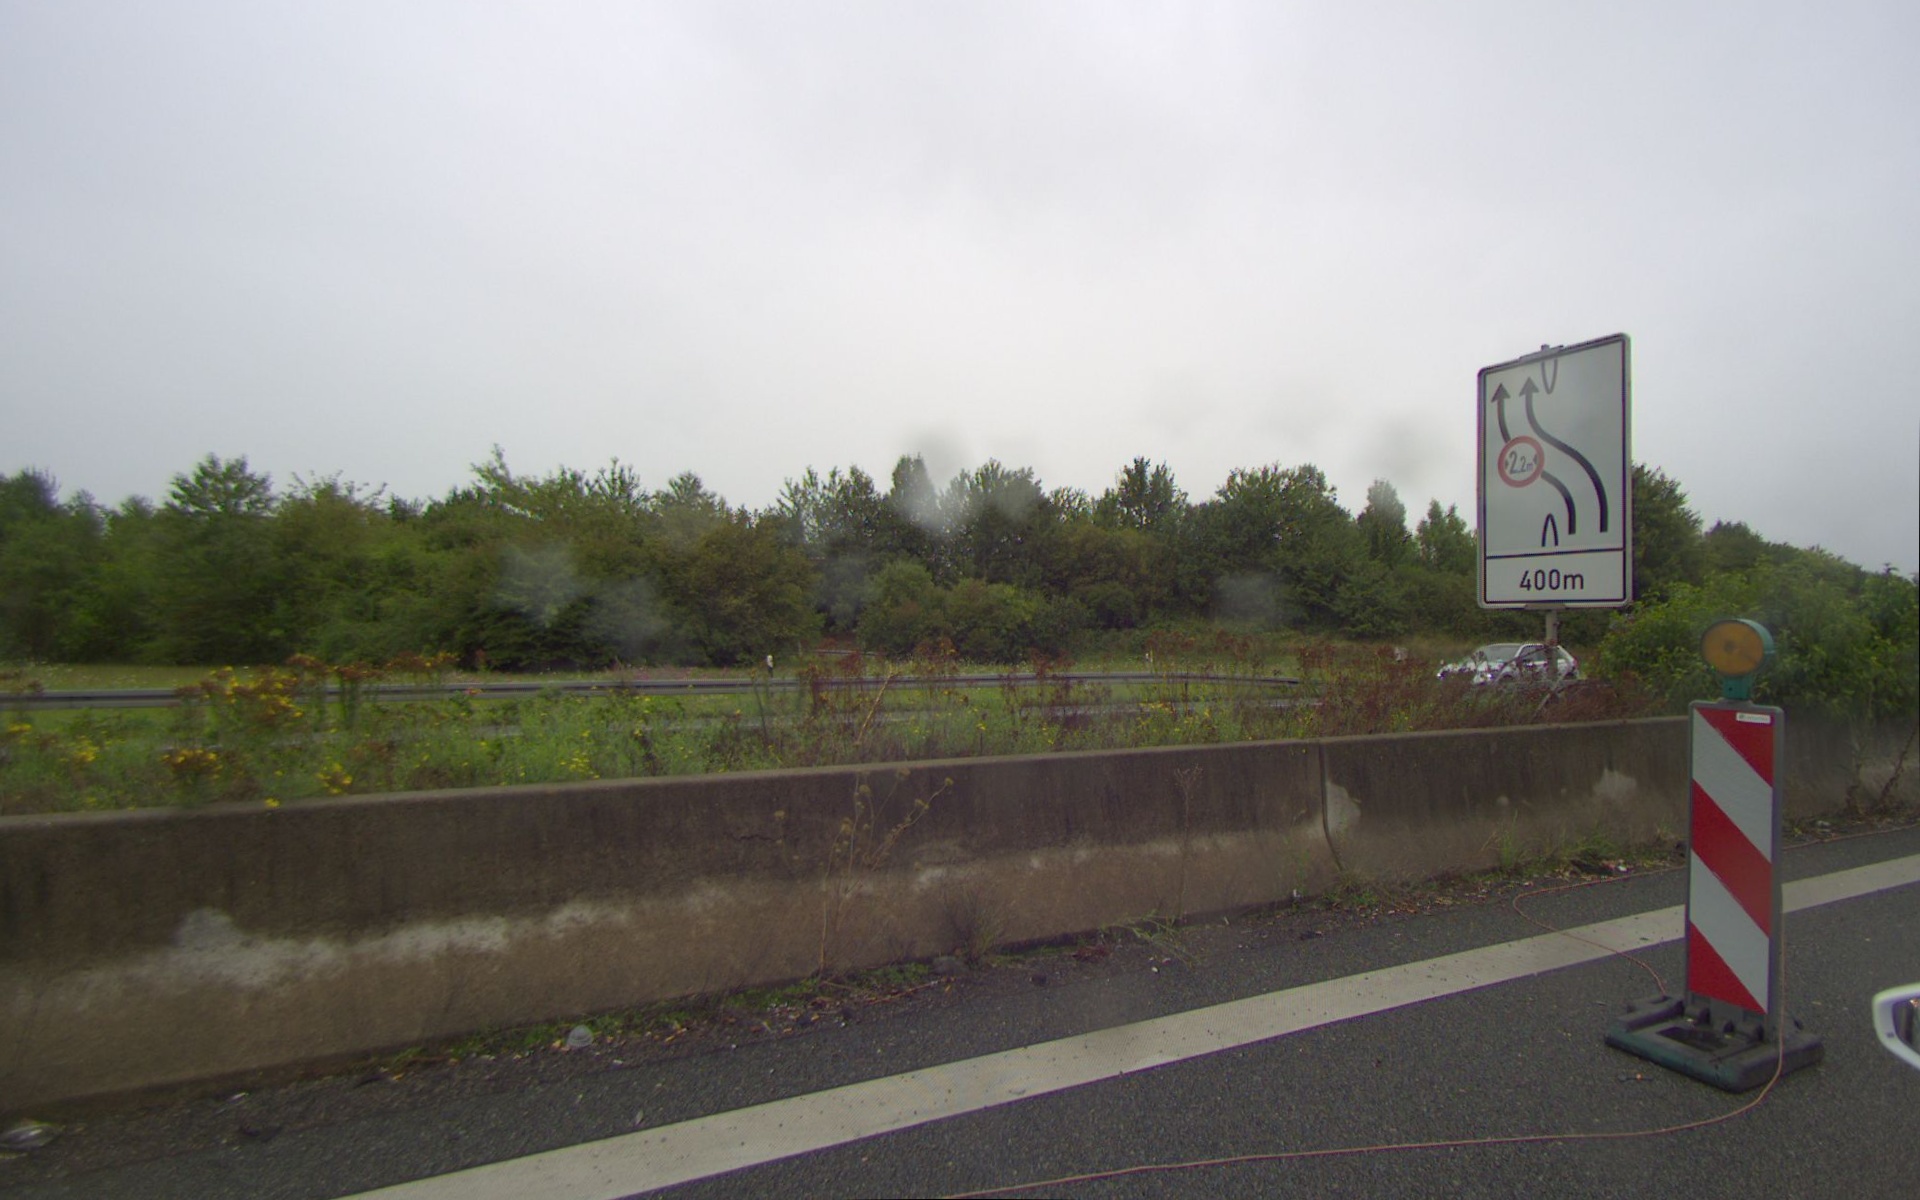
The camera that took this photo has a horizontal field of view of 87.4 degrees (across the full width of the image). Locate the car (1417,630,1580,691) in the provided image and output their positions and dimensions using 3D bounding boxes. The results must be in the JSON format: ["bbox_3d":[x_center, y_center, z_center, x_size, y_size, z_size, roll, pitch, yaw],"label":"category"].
[{"bbox_3d":[14.401,1.559,26.833,4.059,1.499,1.985,1,-2,-29],"label":"car"}]
